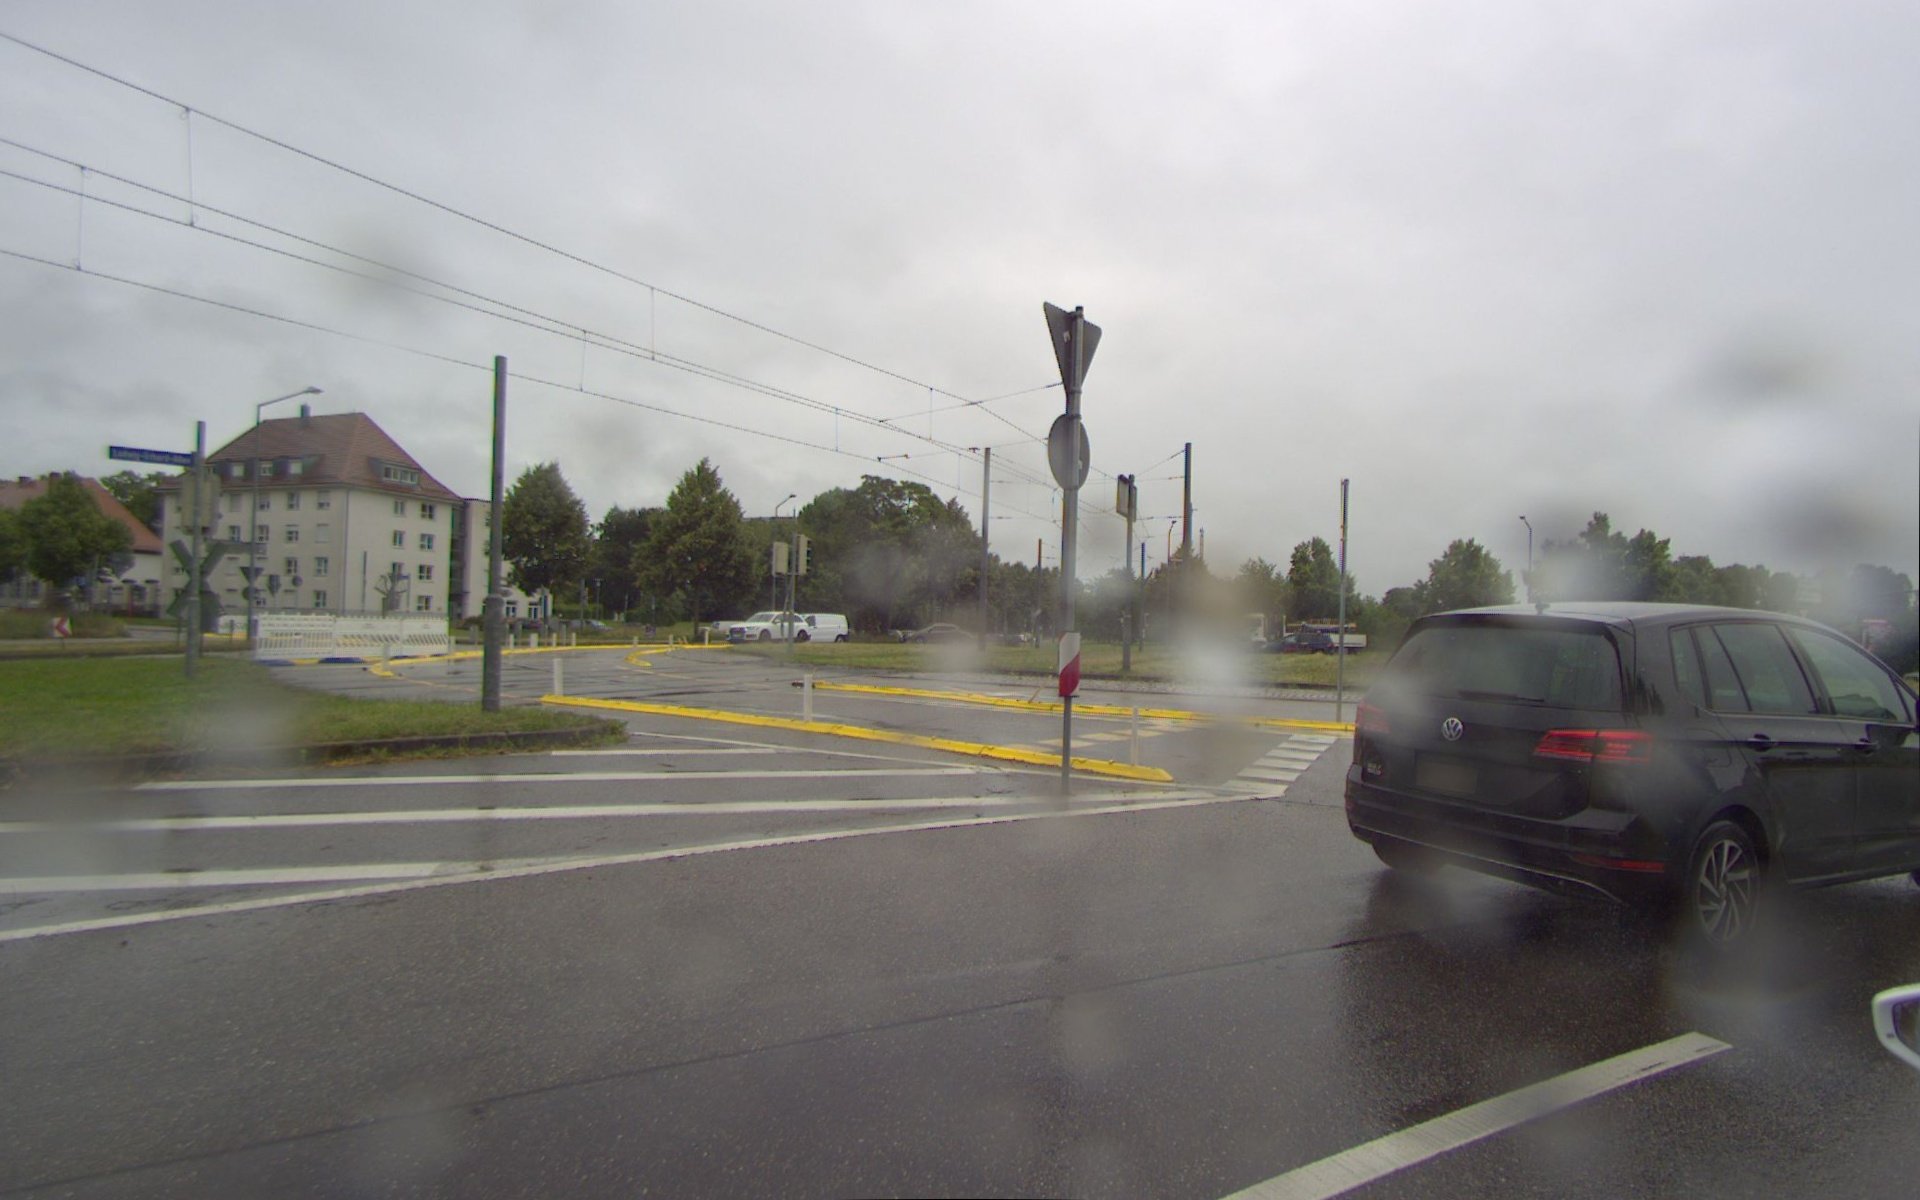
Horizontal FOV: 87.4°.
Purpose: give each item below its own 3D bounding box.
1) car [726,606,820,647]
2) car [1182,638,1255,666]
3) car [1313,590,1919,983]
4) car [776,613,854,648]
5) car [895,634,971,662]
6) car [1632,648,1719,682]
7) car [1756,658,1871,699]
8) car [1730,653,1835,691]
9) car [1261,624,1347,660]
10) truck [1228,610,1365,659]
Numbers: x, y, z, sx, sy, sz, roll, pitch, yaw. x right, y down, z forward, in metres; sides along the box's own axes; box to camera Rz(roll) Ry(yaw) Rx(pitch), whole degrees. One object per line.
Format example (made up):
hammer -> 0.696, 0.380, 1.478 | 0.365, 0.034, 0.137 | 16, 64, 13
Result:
car -> -9.081, 1.317, 49.128 | 1.746, 1.767, 4.858 | 4, 0, 29
car -> 17.193, 3.426, 66.805 | 4.461, 1.511, 1.611 | 4, 0, 23
car -> 4.245, 0.803, 5.740 | 4.278, 1.537, 1.776 | 2, -1, -28
car -> -8.317, 1.767, 57.854 | 4.137, 1.746, 1.811 | 4, 0, -43
car -> -1.697, 3.048, 63.898 | 4.480, 1.511, 1.604 | 4, 0, -20
car -> 42.859, 3.873, 60.265 | 3.924, 1.669, 1.788 | 4, 0, 24
car -> 42.516, 3.887, 50.155 | 3.924, 1.669, 1.788 | 4, 0, 24
car -> 44.215, 3.839, 54.096 | 3.924, 1.669, 1.788 | 4, 0, 24
car -> 20.799, 2.526, 60.873 | 4.770, 1.767, 1.778 | 4, 0, 20
truck -> 23.009, 2.327, 68.782 | 8.627, 2.747, 2.000 | 4, 0, 22
